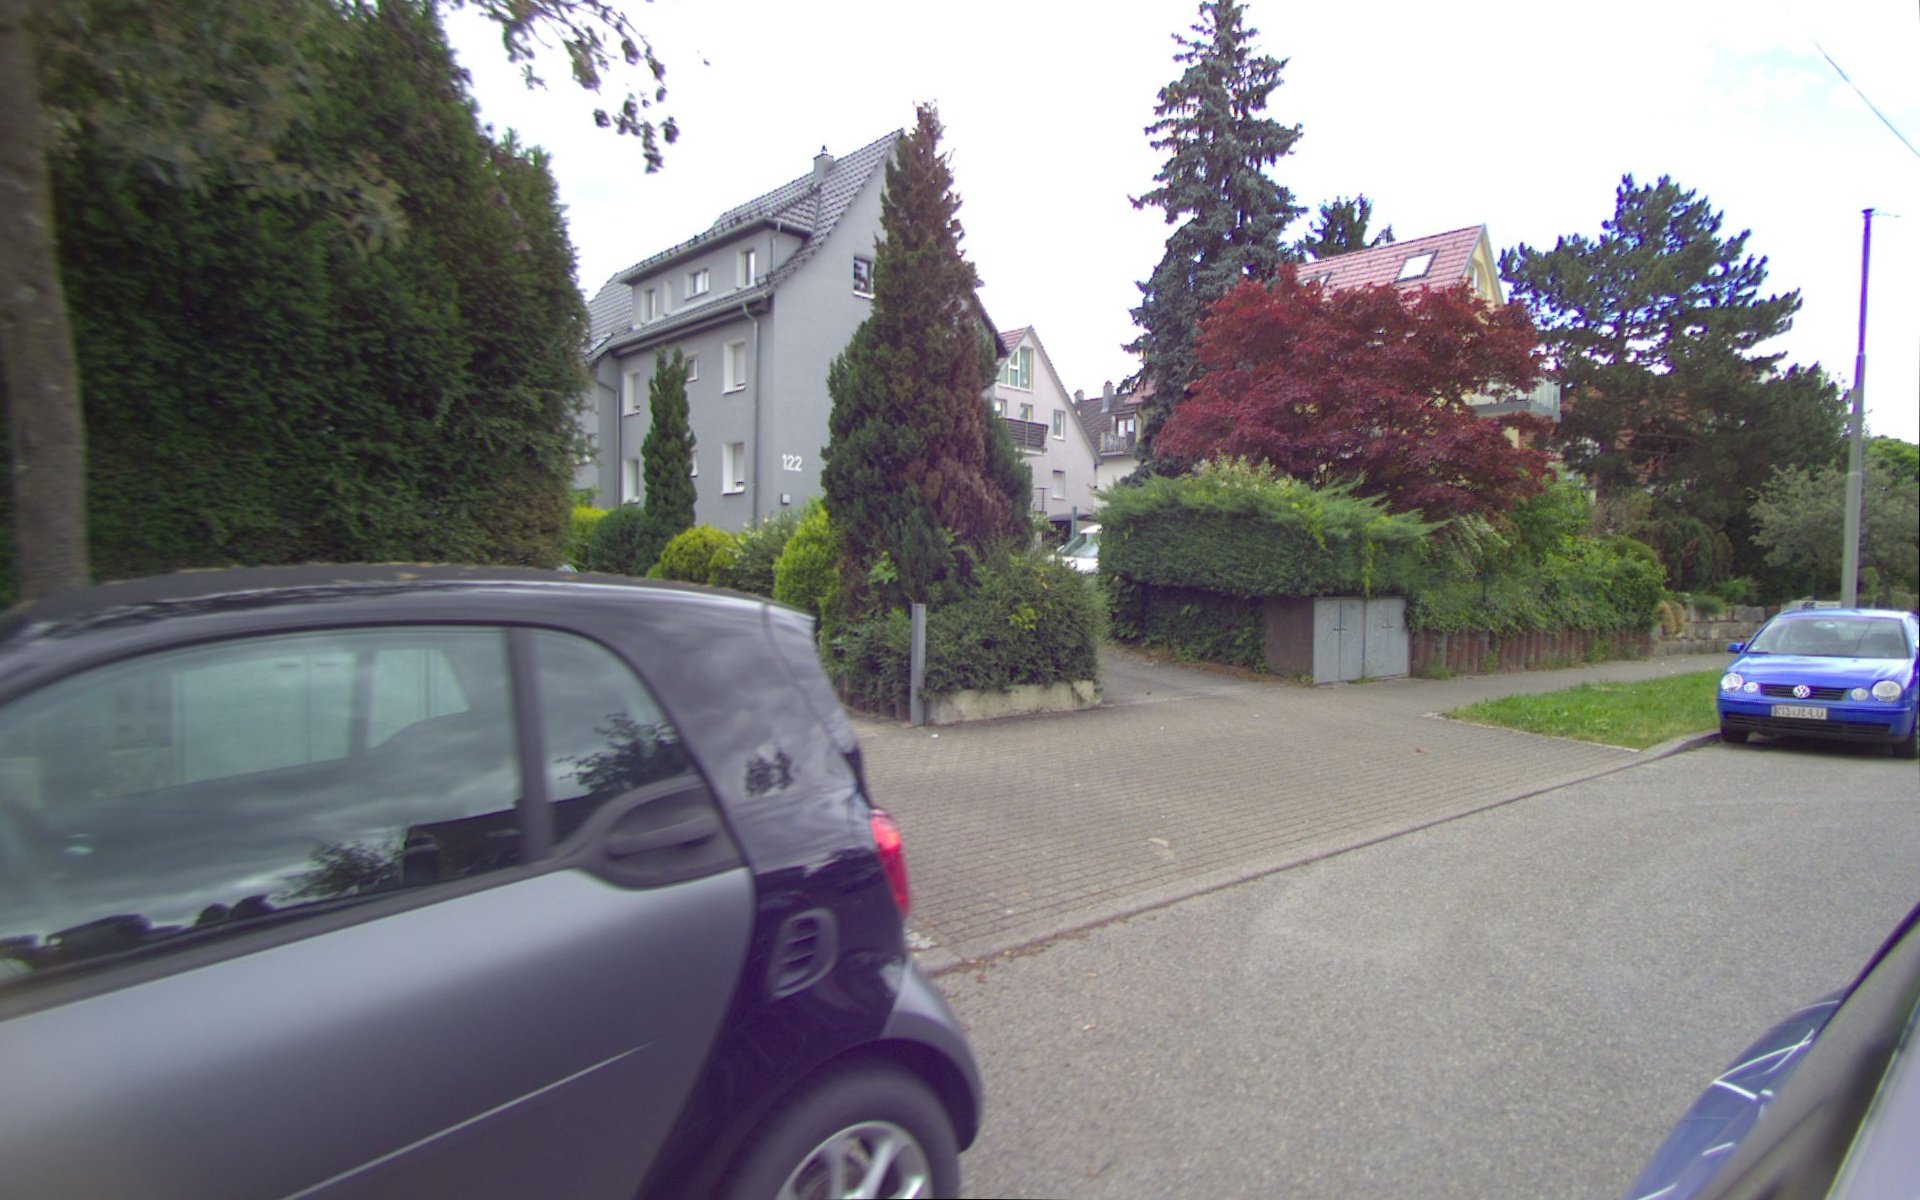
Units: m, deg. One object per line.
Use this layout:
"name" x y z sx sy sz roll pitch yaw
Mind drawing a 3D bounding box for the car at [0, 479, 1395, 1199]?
"car" -0.734 0.663 2.258 3.888 1.577 1.697 0 0 -42

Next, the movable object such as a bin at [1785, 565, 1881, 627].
"movable object such as a bin" 29.830 -0.148 34.597 1.319 2.039 2.315 0 0 -39

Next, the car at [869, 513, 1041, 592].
"car" -0.056 -1.162 23.813 1.811 1.609 3.870 9 9 44

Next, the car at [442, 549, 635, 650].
"car" -7.168 -0.091 17.004 1.770 1.434 3.994 0 3 -42

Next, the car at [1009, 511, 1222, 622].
"car" 3.115 -0.762 19.739 4.467 1.697 1.780 -8 11 -44

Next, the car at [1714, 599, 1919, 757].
"car" 9.936 0.726 11.253 3.806 1.470 1.630 0 0 -39
